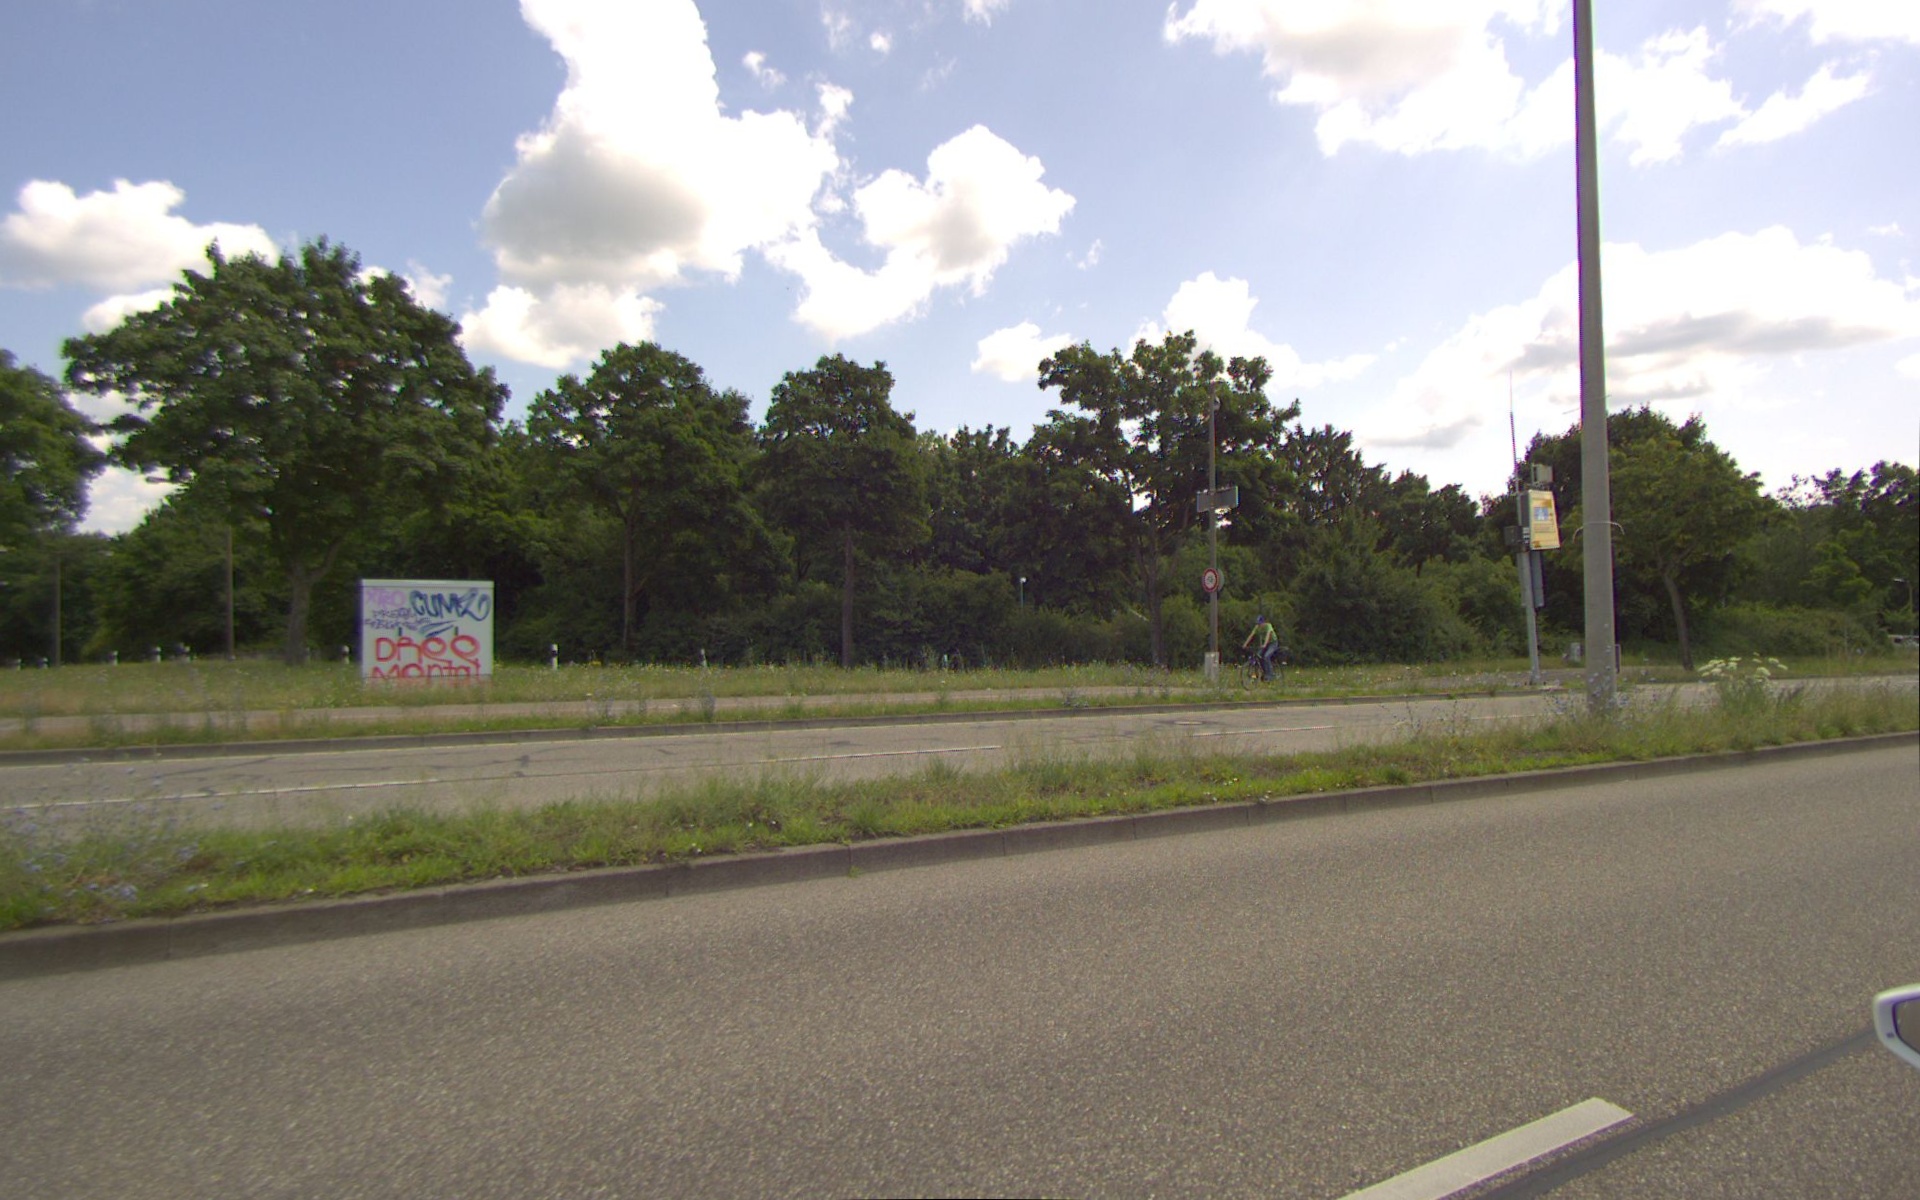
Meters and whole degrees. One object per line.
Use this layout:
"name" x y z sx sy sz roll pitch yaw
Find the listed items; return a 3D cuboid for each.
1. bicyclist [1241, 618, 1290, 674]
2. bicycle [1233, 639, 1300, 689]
"bicyclist" 7.264 1.074 23.884 1.095 1.289 0.517 0 1 -33
"bicycle" 7.317 1.510 23.932 1.887 1.082 0.429 0 1 -33
